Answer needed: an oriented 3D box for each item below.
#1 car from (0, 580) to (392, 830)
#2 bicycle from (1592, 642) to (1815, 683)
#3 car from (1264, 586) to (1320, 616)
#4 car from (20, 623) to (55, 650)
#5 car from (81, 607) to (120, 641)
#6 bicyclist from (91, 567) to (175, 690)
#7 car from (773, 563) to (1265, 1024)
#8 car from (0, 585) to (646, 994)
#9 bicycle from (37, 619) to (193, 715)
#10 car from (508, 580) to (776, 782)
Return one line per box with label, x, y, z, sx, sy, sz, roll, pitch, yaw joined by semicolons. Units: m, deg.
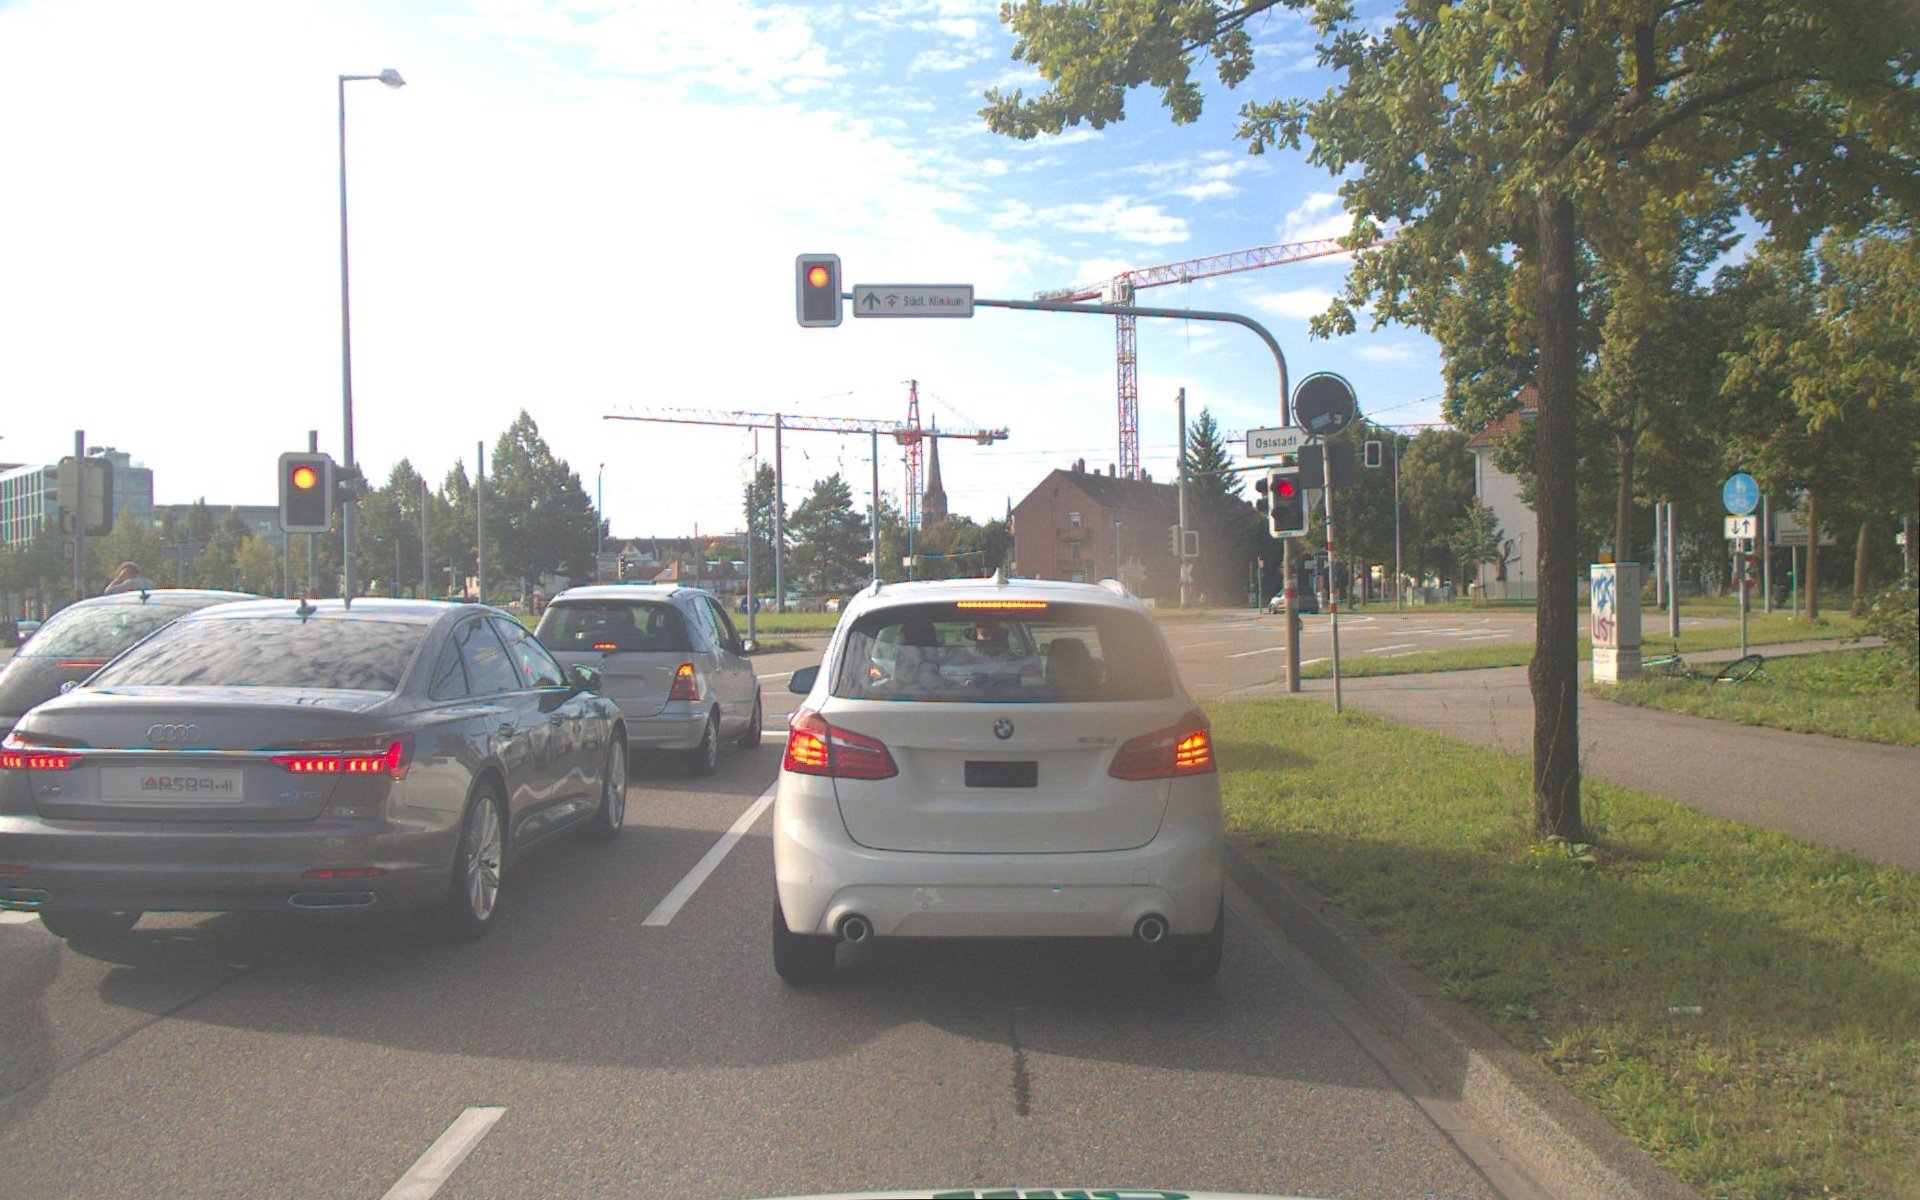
car;-5.635;0.650;12.183;1.646;1.549;3.809;0;0;-1
bicycle;9.479;0.784;21.249;1.382;0.392;2.569;-1;0;-12
car;18.496;0.056;92.262;1.548;1.601;3.176;-1;0;-23
car;-52.026;2.025;93.294;1.574;1.440;3.636;-1;0;-28
car;-42.963;1.173;82.661;1.687;1.601;3.962;-1;0;-28
bicyclist;-10.748;0.367;21.528;0.835;1.553;0.737;-1;0;-17
car;0.172;0.661;7.731;1.694;1.585;4.057;0;0;-1
car;-2.934;0.714;8.438;1.851;1.509;4.612;0;0;-1
bicycle;-10.936;0.853;21.460;1.698;1.184;0.653;-1;0;-17
car;-2.743;0.637;15.143;1.694;1.585;4.057;0;0;-1
